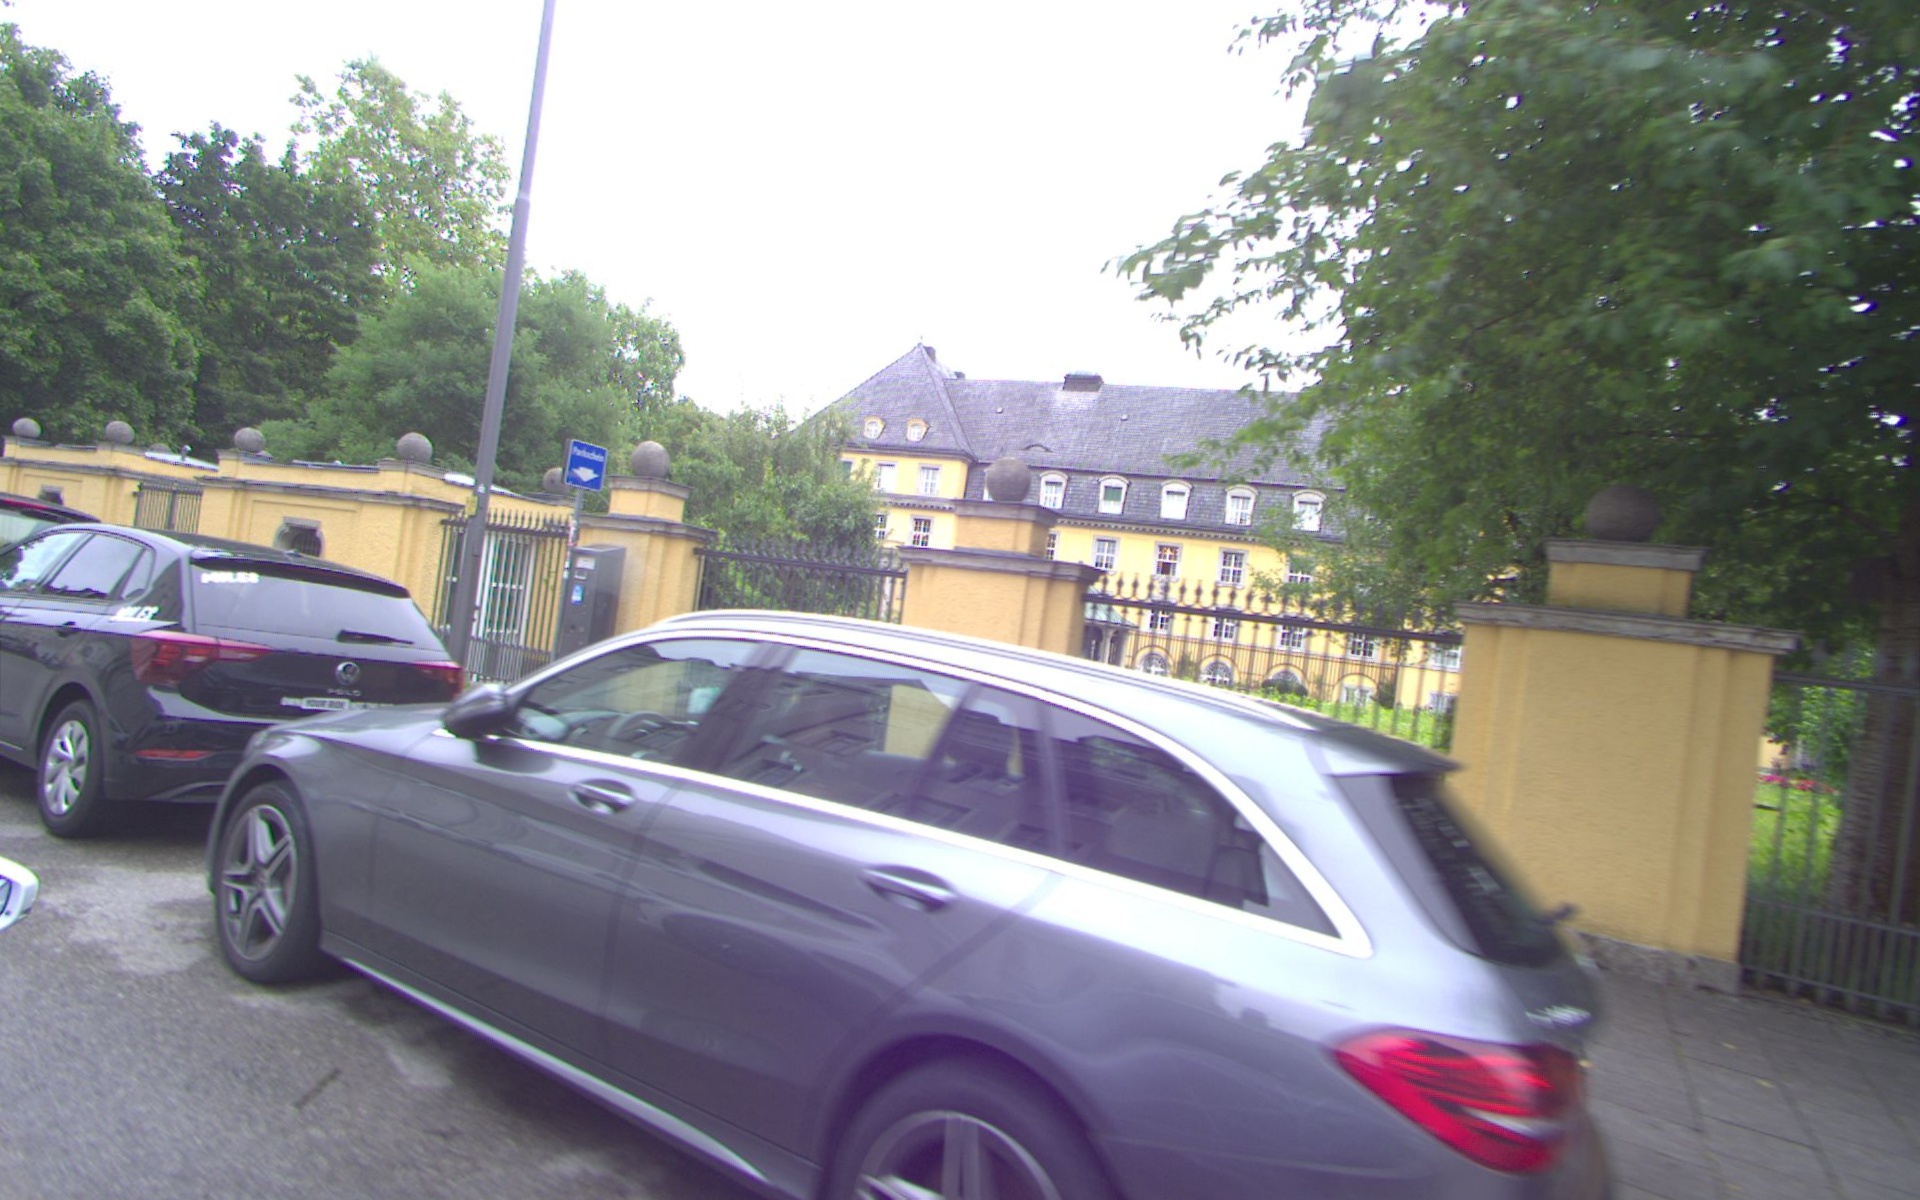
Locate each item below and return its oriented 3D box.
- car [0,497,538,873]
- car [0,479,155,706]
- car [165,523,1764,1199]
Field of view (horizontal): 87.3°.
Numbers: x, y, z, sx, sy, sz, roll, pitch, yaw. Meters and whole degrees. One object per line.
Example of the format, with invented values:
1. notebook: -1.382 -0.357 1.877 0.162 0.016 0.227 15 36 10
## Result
1. car: -4.556 0.295 5.824 3.968 1.430 1.697 7 -3 30
2. car: -8.030 -0.194 8.016 2.822 1.583 1.512 7 -3 32
3. car: -0.494 0.735 3.191 4.441 1.431 1.694 7 -1 32
